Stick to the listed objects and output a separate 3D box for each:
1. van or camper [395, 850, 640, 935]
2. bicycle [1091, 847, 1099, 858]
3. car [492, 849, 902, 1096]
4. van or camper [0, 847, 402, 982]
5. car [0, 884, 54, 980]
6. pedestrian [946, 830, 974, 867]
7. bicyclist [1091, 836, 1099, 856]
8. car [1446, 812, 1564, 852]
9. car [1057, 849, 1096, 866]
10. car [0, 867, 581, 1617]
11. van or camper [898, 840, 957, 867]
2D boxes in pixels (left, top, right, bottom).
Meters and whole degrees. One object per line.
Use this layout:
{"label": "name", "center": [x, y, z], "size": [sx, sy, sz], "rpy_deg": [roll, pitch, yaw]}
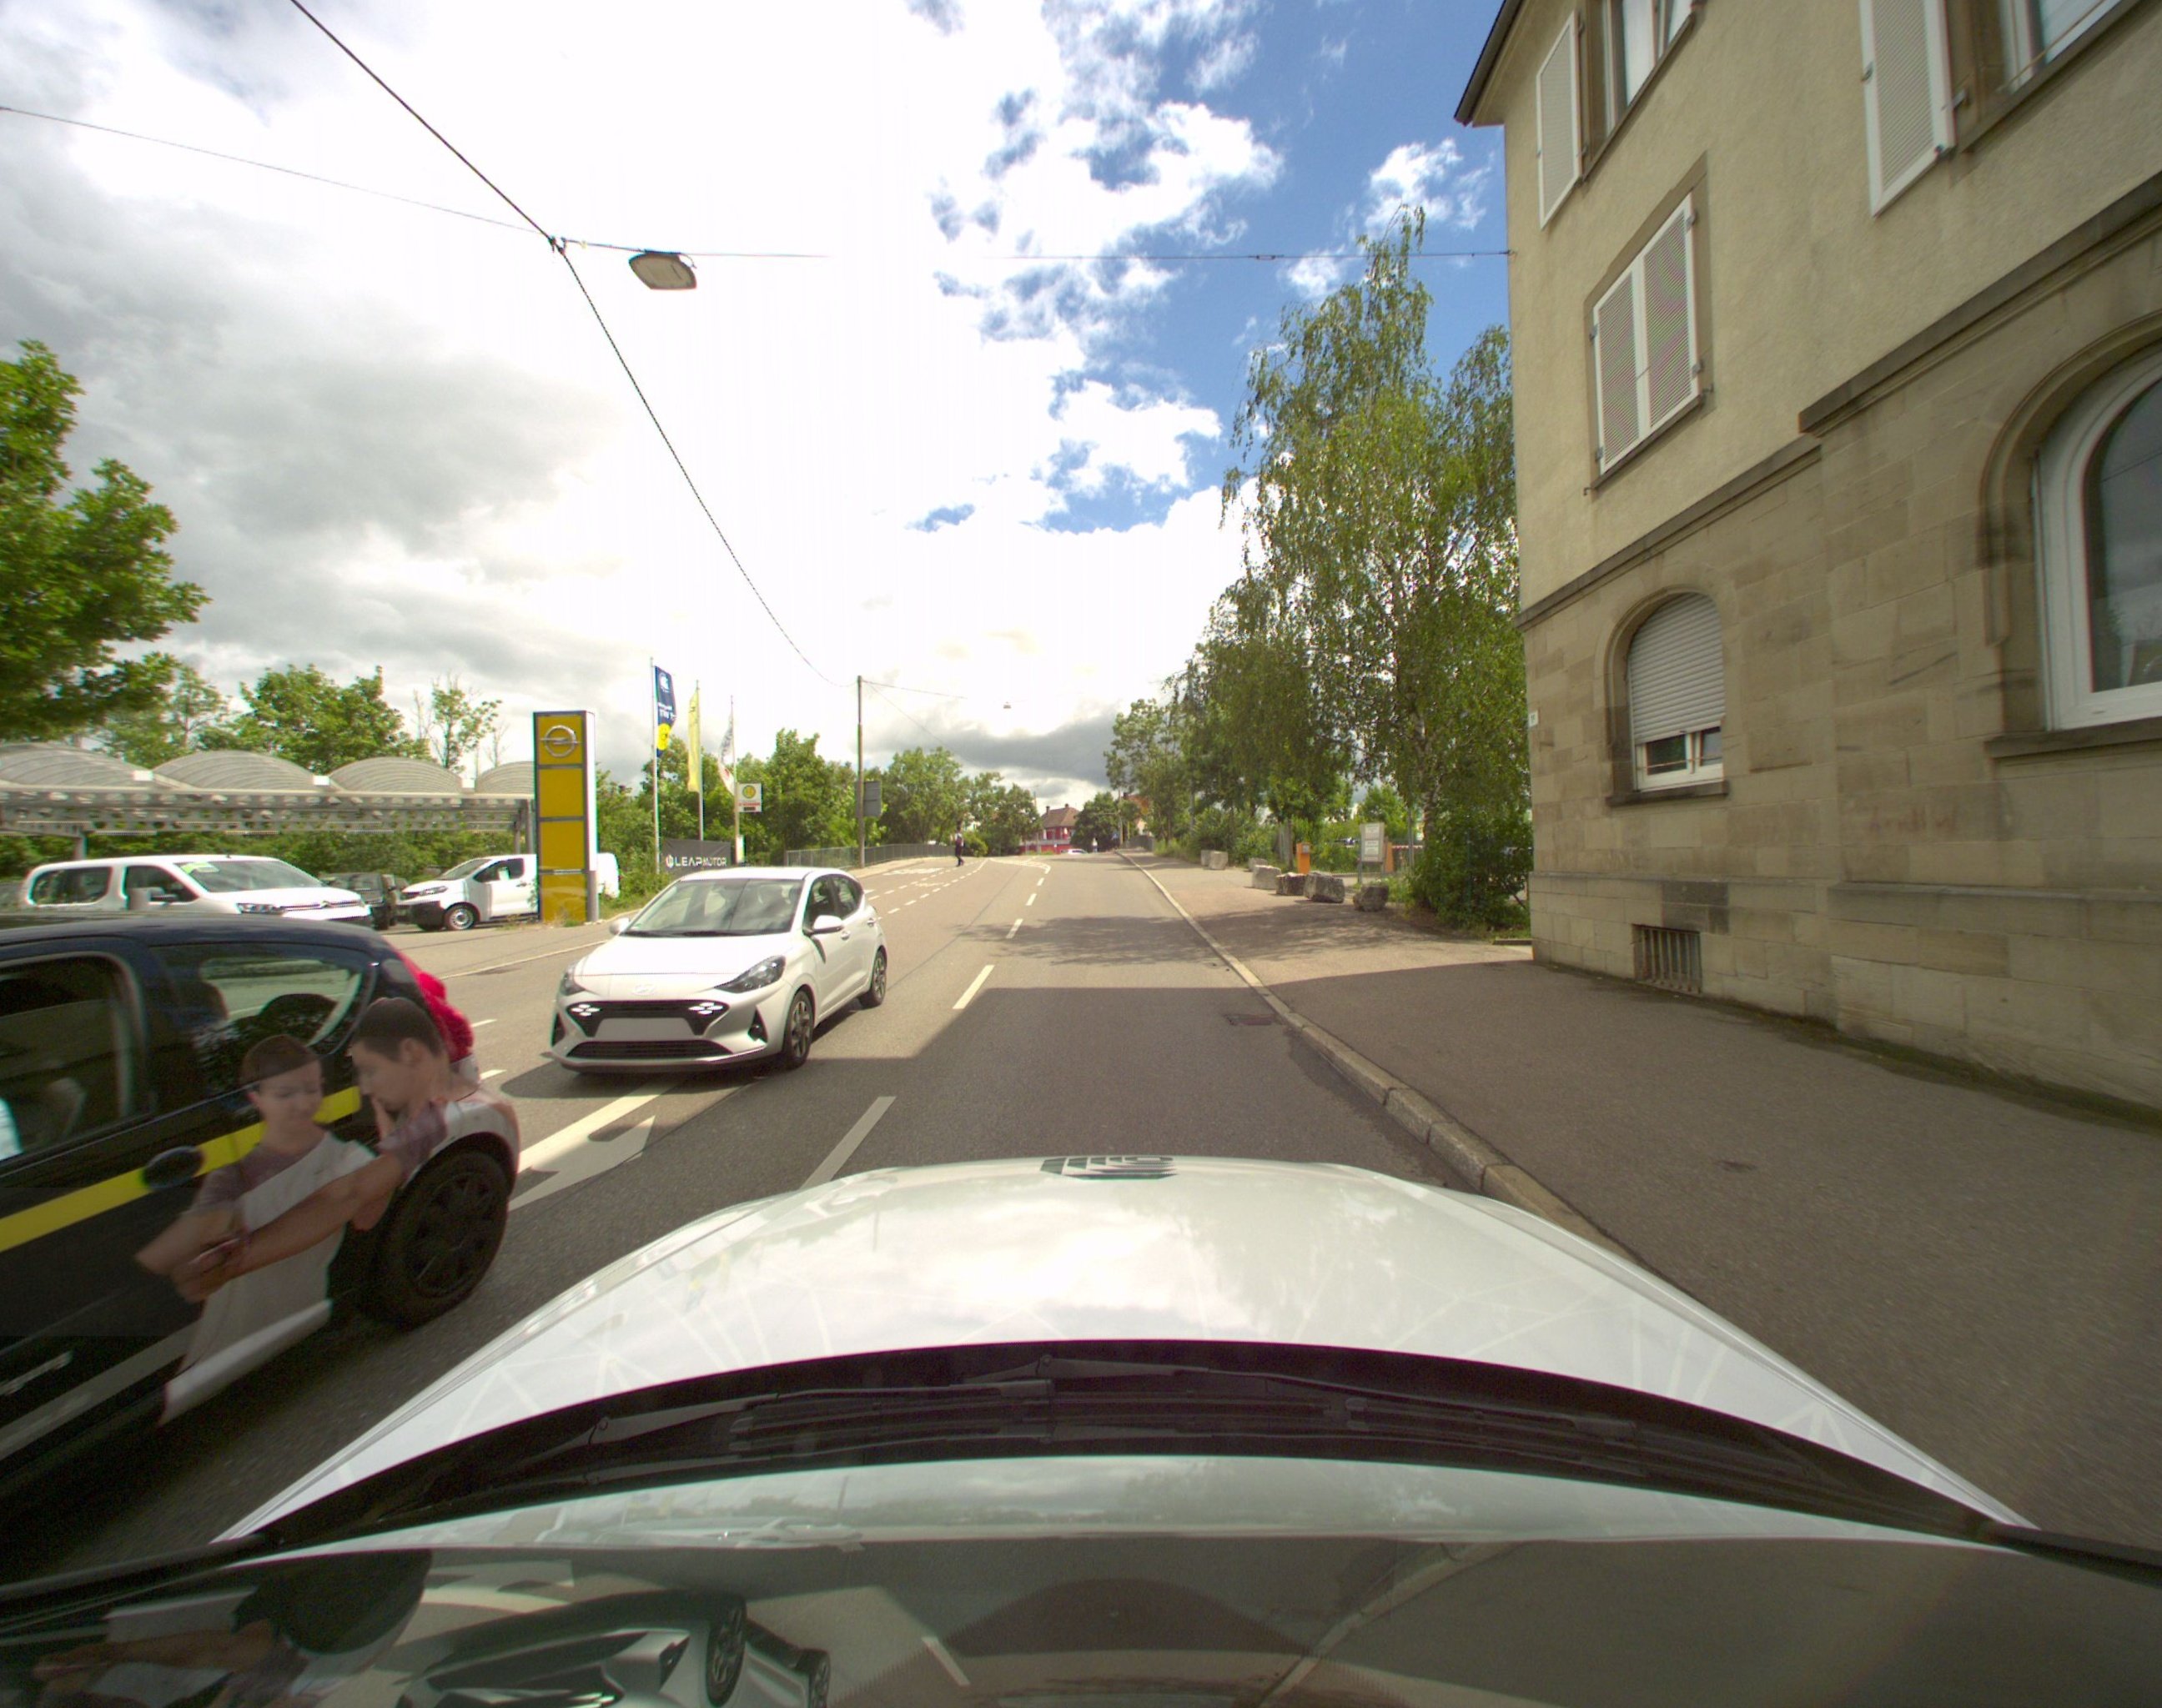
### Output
{"label": "van or camper", "center": [-14.837, 0.910, 21.789], "size": [1.964, 1.963, 4.991], "rpy_deg": [-1, 0, 33]}
{"label": "bicycle", "center": [1.342, -0.095, 77.806], "size": [0.684, 0.878, 2.104], "rpy_deg": [-1, -5, 5]}
{"label": "car", "center": [-2.903, 0.800, 7.238], "size": [1.713, 1.581, 3.999], "rpy_deg": [0, -1, 0]}
{"label": "van or camper", "center": [-13.377, 0.852, 12.303], "size": [4.646, 1.750, 2.003], "rpy_deg": [-2, 0, 5]}
{"label": "car", "center": [-18.533, 1.270, 11.535], "size": [4.522, 1.436, 2.000], "rpy_deg": [-2, 0, -20]}
{"label": "pedestrian", "center": [-6.220, -0.279, 41.907], "size": [1.025, 1.837, 1.004], "rpy_deg": [-1, 1, 16]}
{"label": "bicyclist", "center": [1.341, -0.787, 77.846], "size": [0.681, 1.826, 1.081], "rpy_deg": [-1, -5, 5]}
{"label": "car", "center": [17.410, -0.895, 33.573], "size": [3.967, 1.486, 1.779], "rpy_deg": [1, -2, 6]}
{"label": "car", "center": [-0.488, 0.399, 96.667], "size": [4.457, 1.832, 1.975], "rpy_deg": [3, -2, -44]}
{"label": "car", "center": [-2.992, 0.769, 1.773], "size": [1.713, 1.484, 3.322], "rpy_deg": [0, -1, 0]}
{"label": "van or camper", "center": [-16.862, 0.007, 89.461], "size": [5.887, 2.567, 2.194], "rpy_deg": [-3, -3, 1]}
